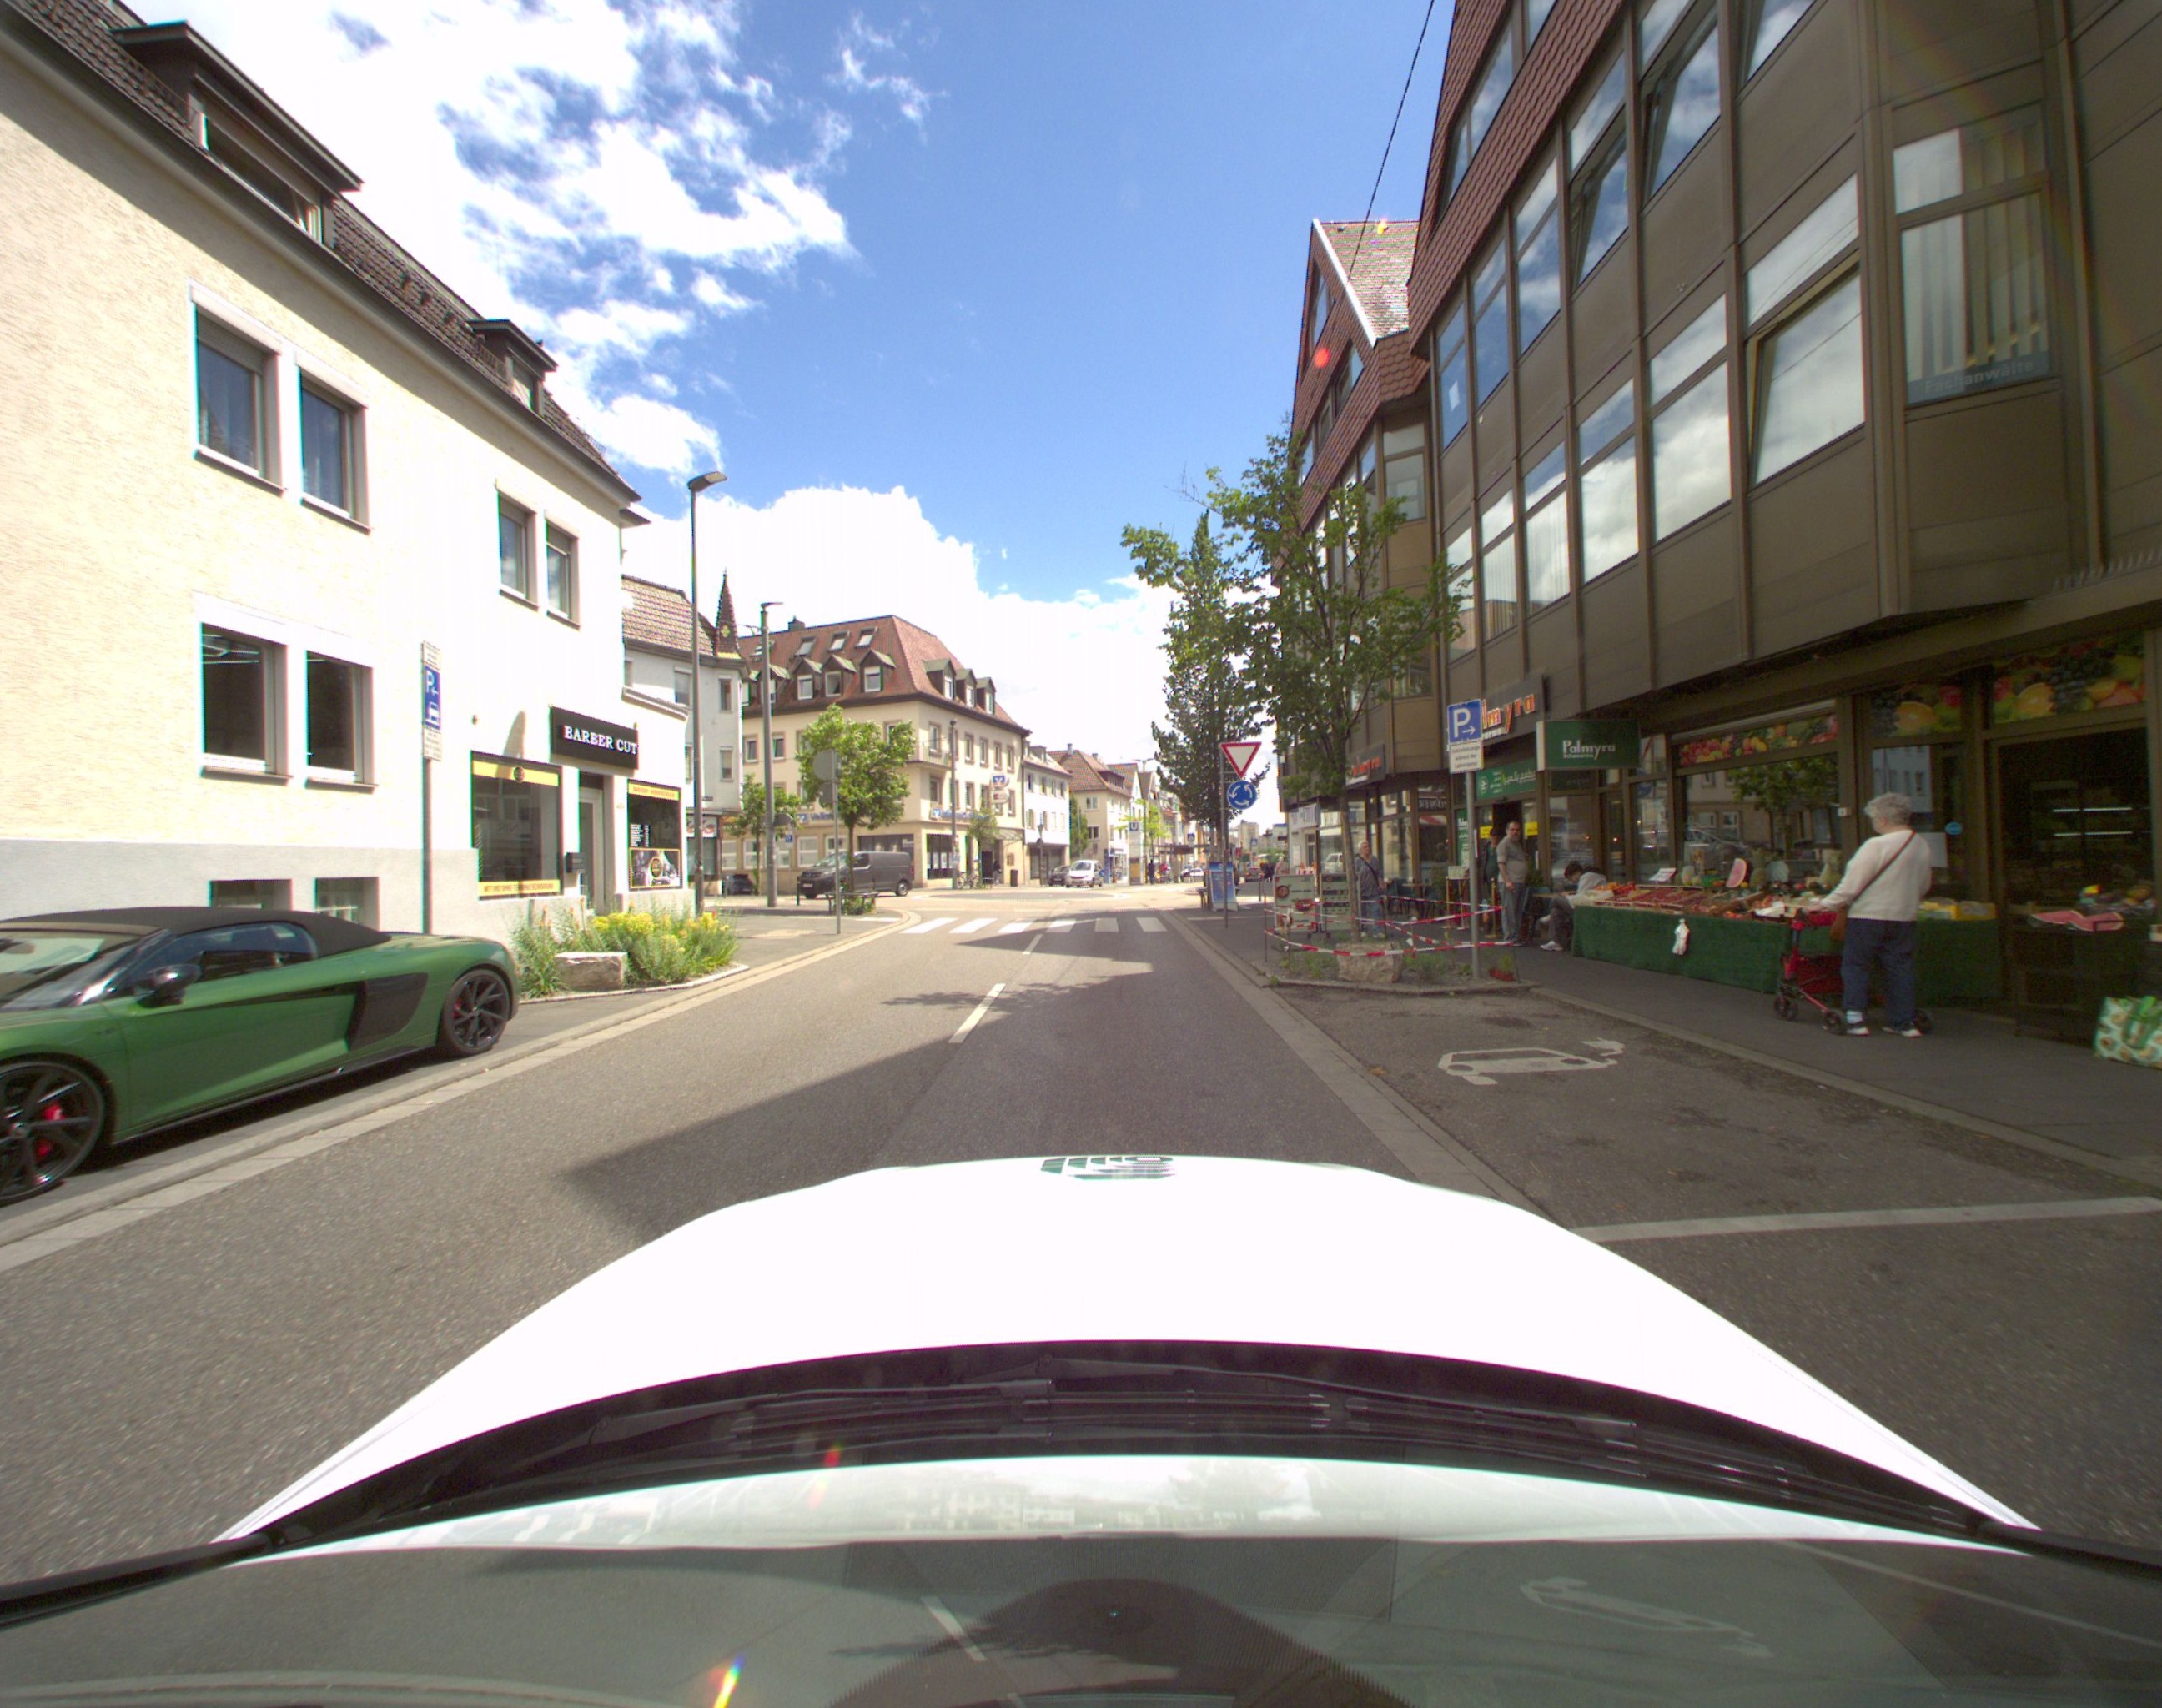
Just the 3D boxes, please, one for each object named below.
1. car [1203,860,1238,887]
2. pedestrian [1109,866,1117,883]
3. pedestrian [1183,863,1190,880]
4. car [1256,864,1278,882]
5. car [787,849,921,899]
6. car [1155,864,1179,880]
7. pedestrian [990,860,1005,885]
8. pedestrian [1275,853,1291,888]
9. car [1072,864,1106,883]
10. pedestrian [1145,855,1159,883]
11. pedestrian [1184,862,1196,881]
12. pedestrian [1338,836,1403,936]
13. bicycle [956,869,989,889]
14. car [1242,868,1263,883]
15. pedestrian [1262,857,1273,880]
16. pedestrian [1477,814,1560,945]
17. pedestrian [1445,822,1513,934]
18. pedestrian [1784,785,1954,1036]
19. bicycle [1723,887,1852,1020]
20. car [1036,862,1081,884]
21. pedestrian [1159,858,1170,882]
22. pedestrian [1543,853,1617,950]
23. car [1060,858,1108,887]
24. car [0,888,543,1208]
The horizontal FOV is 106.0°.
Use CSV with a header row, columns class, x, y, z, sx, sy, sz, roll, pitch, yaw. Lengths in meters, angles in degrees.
class,x,y,z,sx,sy,sz,roll,pitch,yaw
car,8.359,1.126,48.647,1.685,1.530,3.485,0,-1,15
pedestrian,3.051,1.947,77.483,0.690,1.610,0.645,0,-1,3
pedestrian,8.076,1.310,62.332,0.588,1.316,0.592,0,-1,7
car,16.232,1.654,71.058,1.685,1.530,3.485,0,-1,15
car,-8.954,0.759,32.557,2.021,1.848,5.031,-1,-1,34
car,9.030,1.832,84.843,1.861,1.624,4.016,0,-1,15
pedestrian,-5.388,1.183,52.381,0.620,1.532,0.863,0,-1,25
pedestrian,9.835,0.820,39.734,0.619,1.690,0.652,0,-1,1
car,0.715,1.554,66.723,1.832,1.545,4.016,0,-1,15
pedestrian,4.446,0.933,50.843,0.865,1.708,0.531,0,-1,4
pedestrian,9.247,1.506,69.299,0.720,1.579,0.753,-1,-1,33
pedestrian,4.882,0.535,13.770,0.781,1.615,0.800,-2,-1,1
bicycle,-5.773,1.335,43.352,1.619,1.031,0.570,0,-1,16
car,19.356,2.356,91.960,1.939,1.640,4.008,0,-1,7
pedestrian,13.275,1.026,57.956,0.619,1.690,0.652,0,-1,1
pedestrian,6.355,0.360,11.869,0.734,1.814,0.712,-3,-1,1
pedestrian,6.614,0.389,13.564,0.806,1.813,0.654,0,-1,1
pedestrian,5.736,0.377,5.947,0.658,1.706,0.642,-1,0,-21
bicycle,5.614,0.761,6.487,0.604,0.979,0.555,0,-1,-22
car,-1.506,1.289,56.101,1.979,1.453,4.016,0,-1,15
pedestrian,6.315,1.214,61.789,0.722,1.764,0.751,-1,0,12
pedestrian,6.649,0.622,10.879,0.618,1.253,0.614,0,-1,4
car,0.233,1.092,49.348,1.979,1.689,4.015,0,-1,14
car,-5.567,0.918,4.689,1.812,1.223,4.525,1,0,2
